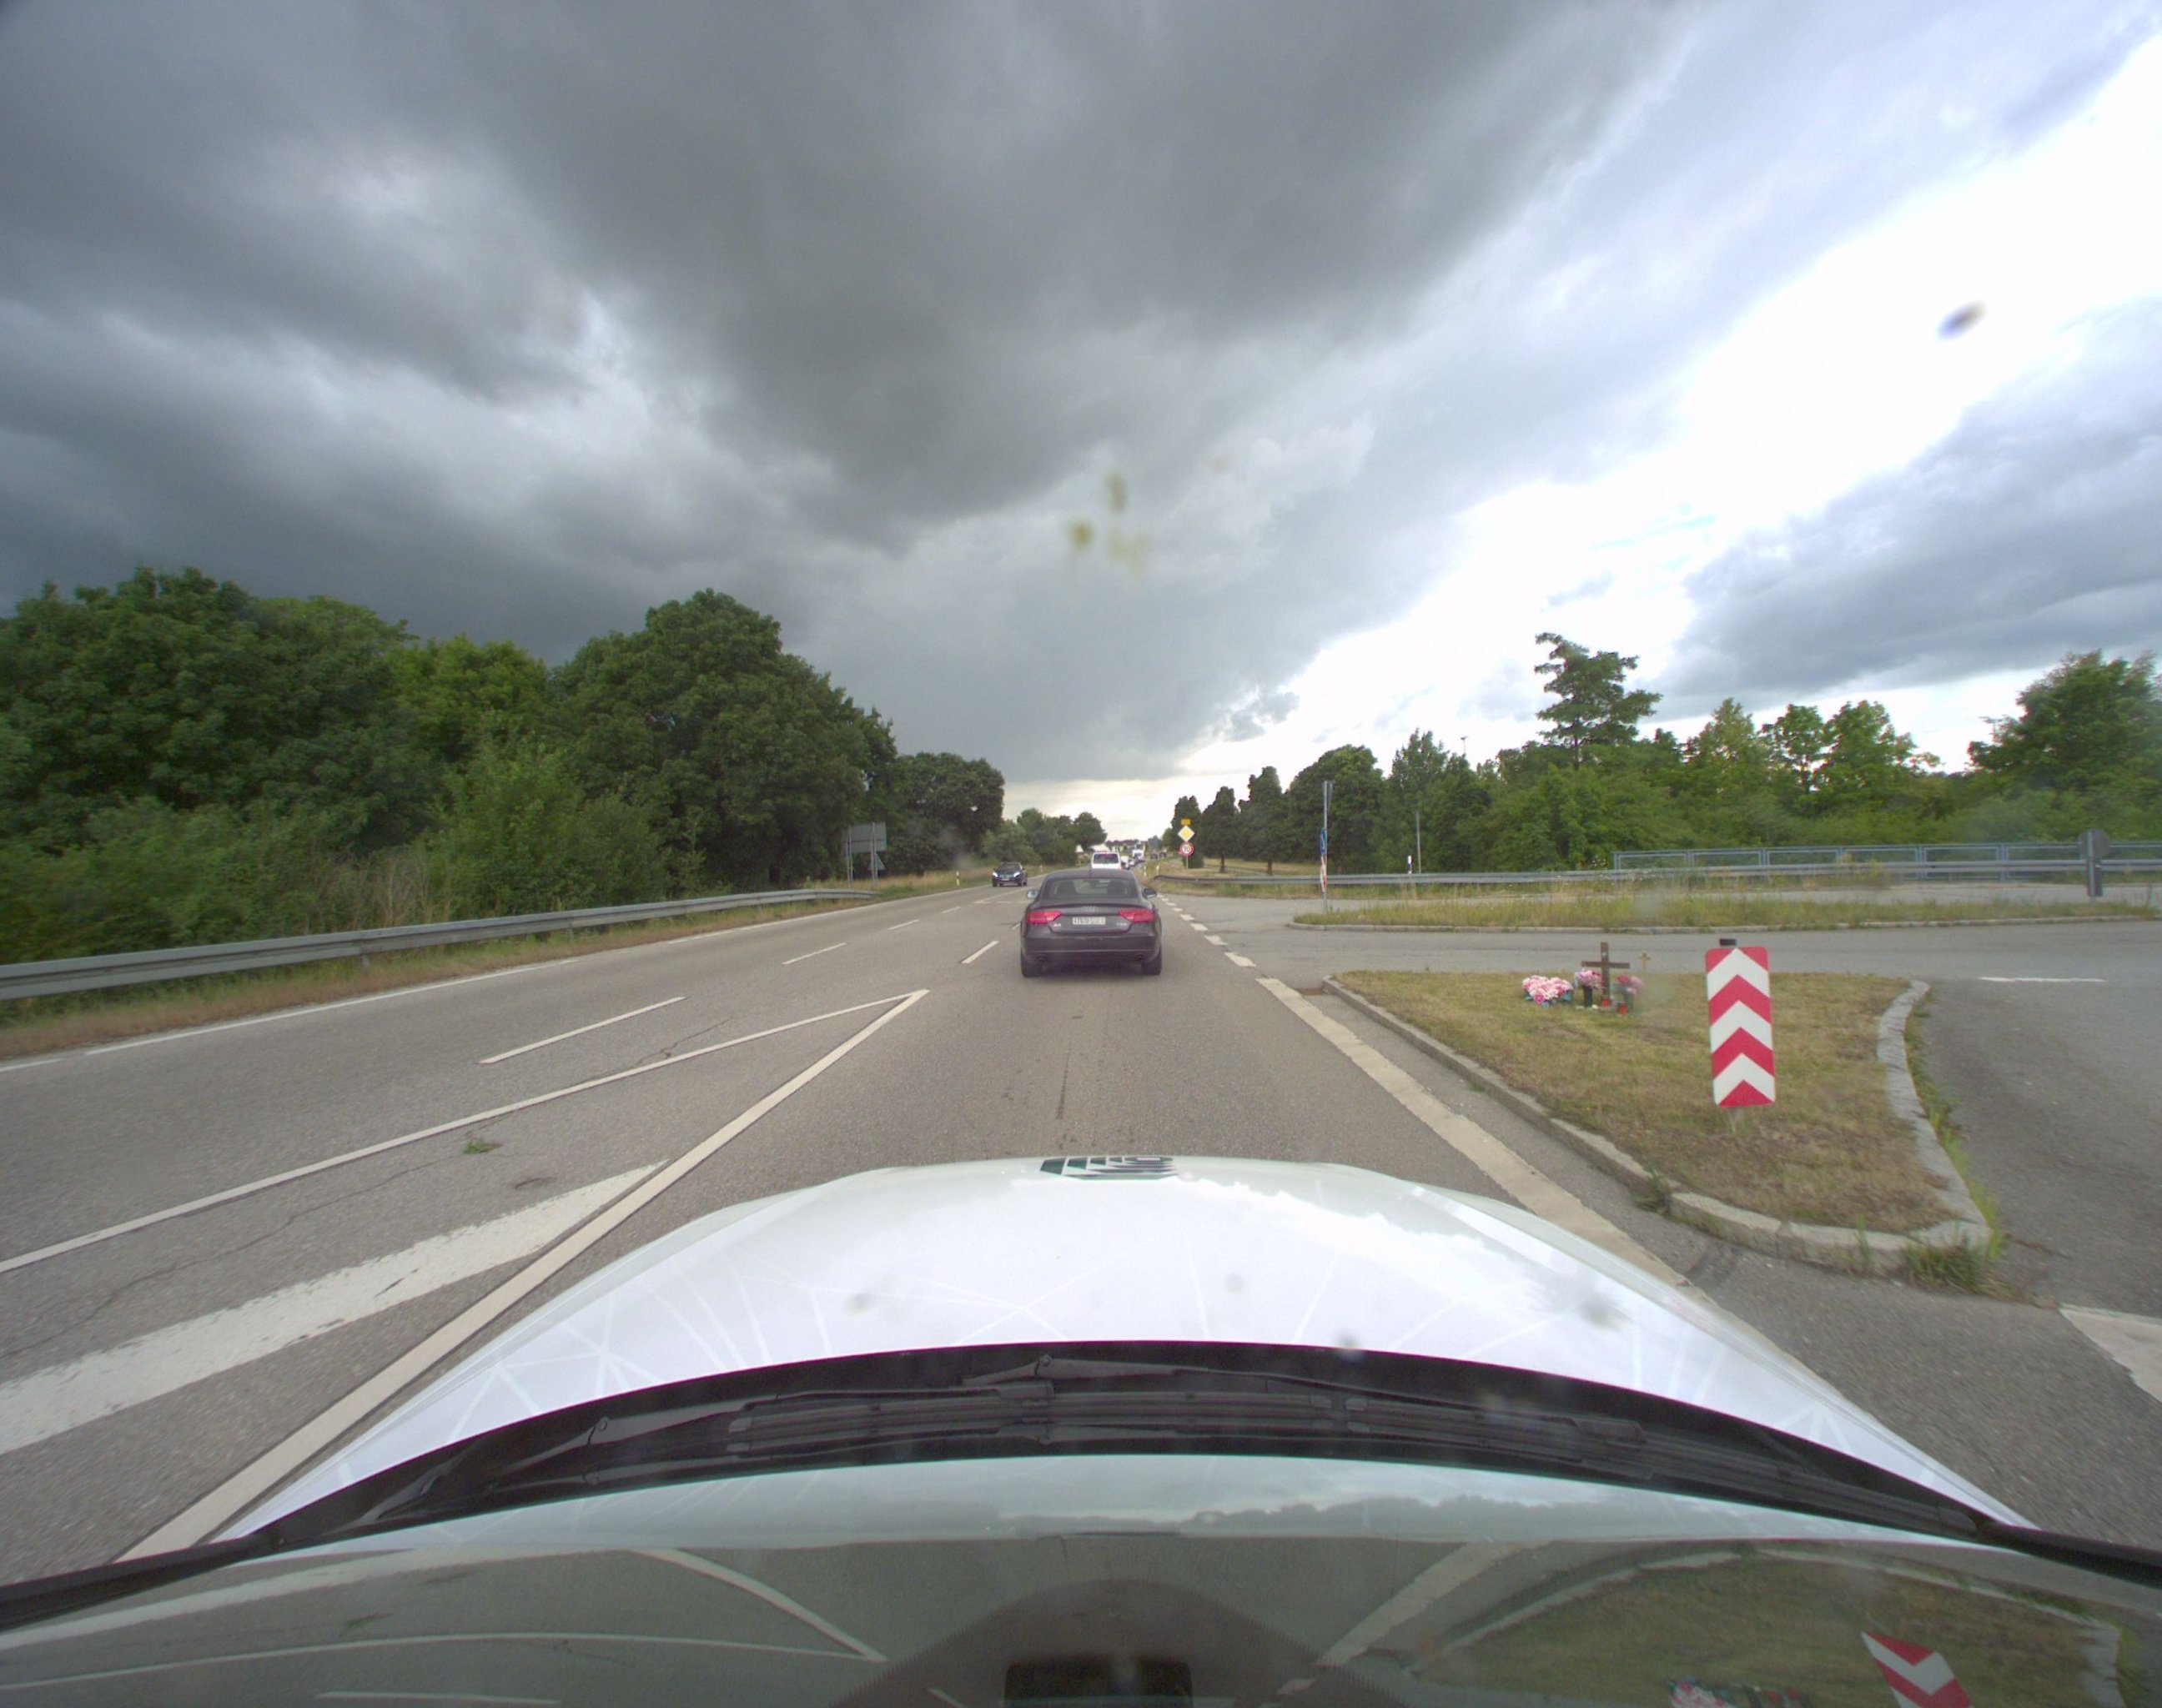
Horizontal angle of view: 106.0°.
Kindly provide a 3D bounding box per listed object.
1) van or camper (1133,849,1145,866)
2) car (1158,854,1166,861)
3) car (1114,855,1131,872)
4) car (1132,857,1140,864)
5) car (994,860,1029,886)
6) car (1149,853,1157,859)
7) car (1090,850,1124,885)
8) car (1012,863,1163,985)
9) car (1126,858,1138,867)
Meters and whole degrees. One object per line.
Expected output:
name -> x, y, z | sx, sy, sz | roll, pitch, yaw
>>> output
van or camper -> 12.111, 0.783, 170.614 | 2.330, 3.481, 5.724 | -1, -1, 4
car -> 23.681, 0.986, 236.859 | 1.986, 2.014, 4.001 | -1, -1, 1
car -> 5.368, 1.204, 105.421 | 1.984, 2.088, 4.005 | -2, -1, 4
car -> 10.316, 1.214, 152.236 | 1.251, 1.353, 3.473 | -2, -1, 8
car -> -4.326, 1.181, 51.491 | 1.704, 1.523, 4.002 | -1, 0, 2
car -> 18.655, 0.536, 210.773 | 1.712, 1.451, 4.003 | -1, 0, 3
car -> 1.504, 0.754, 46.541 | 1.832, 1.882, 4.002 | -1, 0, 2
car -> 0.140, 0.851, 11.629 | 1.776, 1.376, 4.002 | -1, 0, 2
car -> 8.535, 1.443, 137.193 | 1.726, 1.514, 3.754 | -2, -1, 8
